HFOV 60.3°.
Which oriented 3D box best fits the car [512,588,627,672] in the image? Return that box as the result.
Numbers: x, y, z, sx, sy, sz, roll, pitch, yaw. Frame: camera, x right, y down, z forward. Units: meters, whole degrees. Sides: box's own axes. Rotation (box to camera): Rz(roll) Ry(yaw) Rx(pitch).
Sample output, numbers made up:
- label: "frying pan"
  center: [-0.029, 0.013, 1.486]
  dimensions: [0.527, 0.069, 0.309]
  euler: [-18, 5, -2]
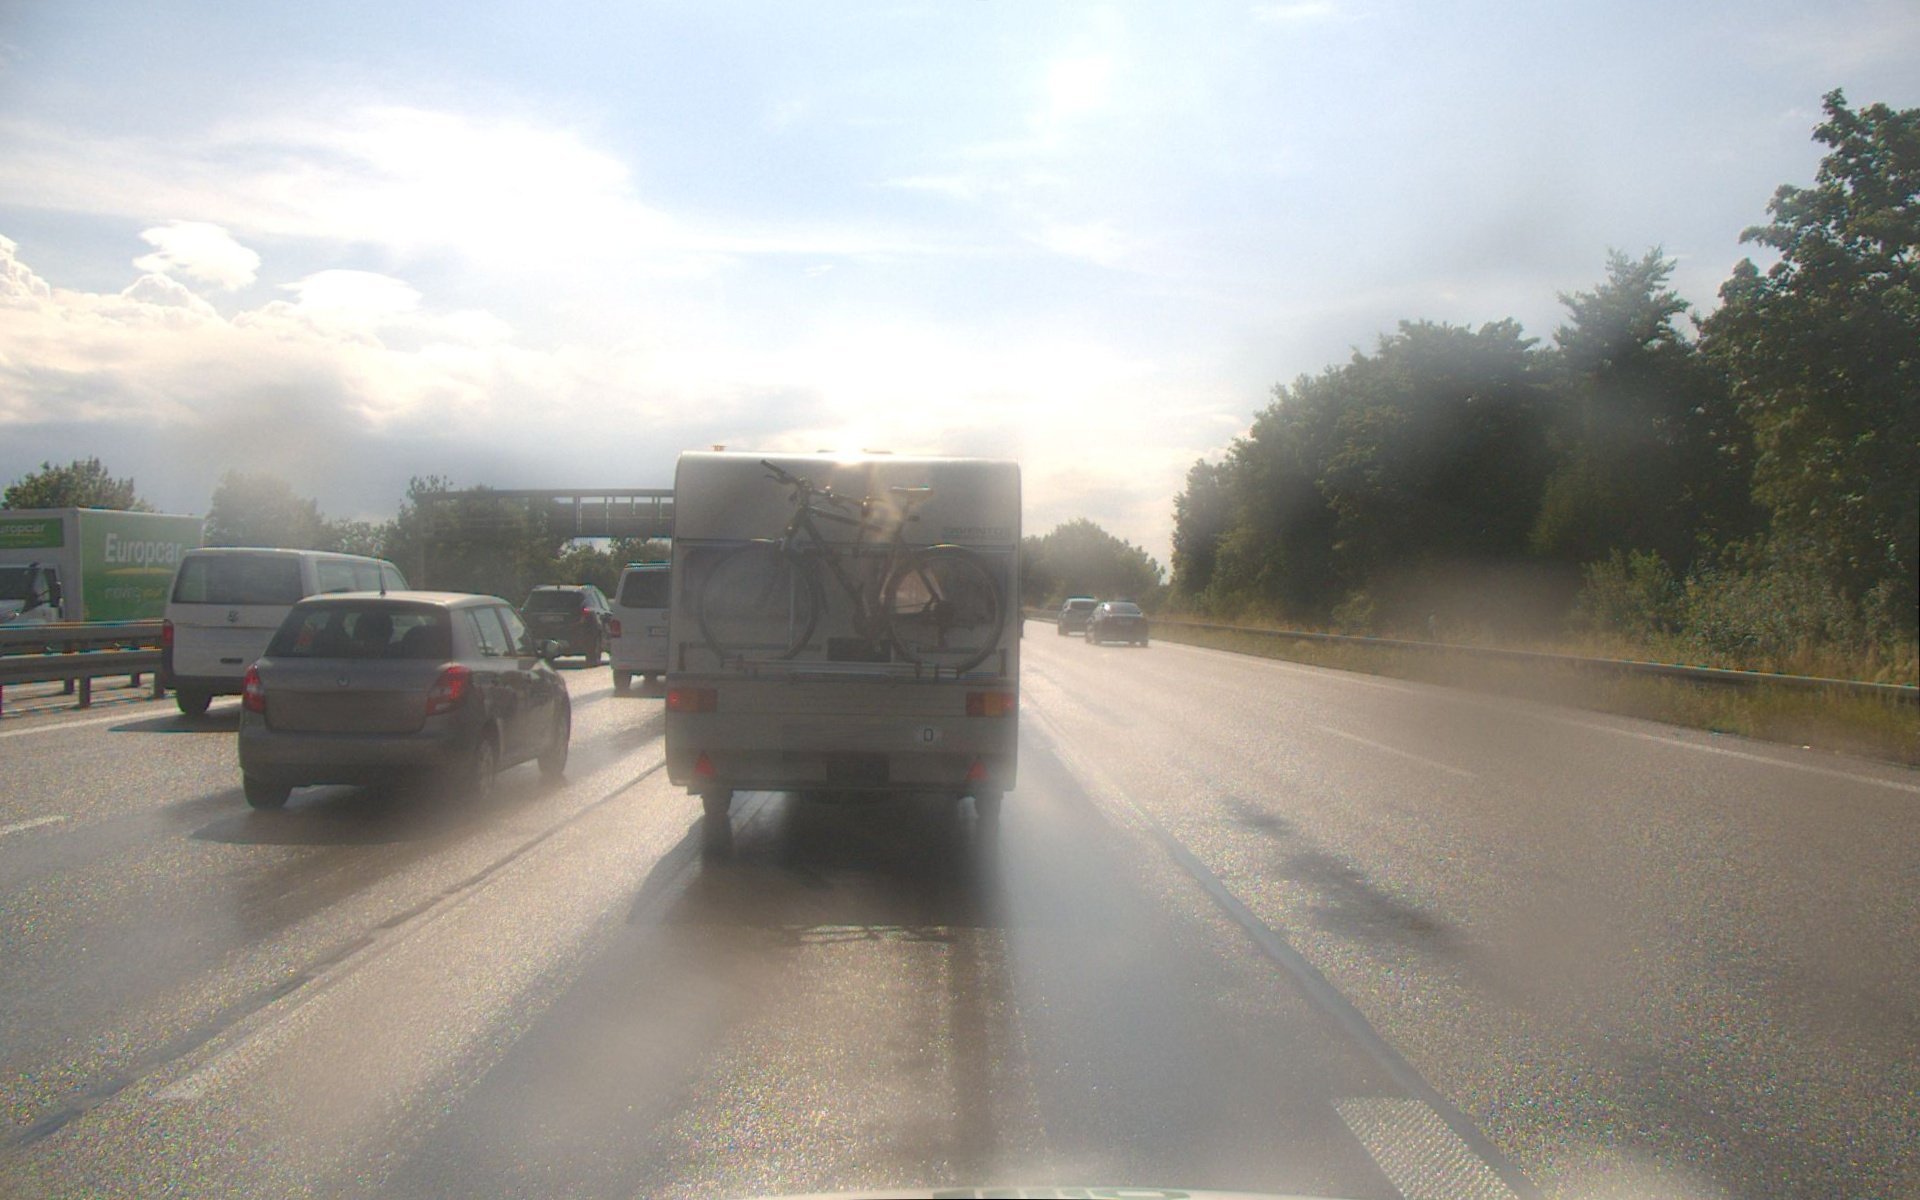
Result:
- label: "car"
  center: [-8.357, 0.616, 35.731]
  dimensions: [1.737, 1.691, 3.997]
  euler: [1, 0, -4]

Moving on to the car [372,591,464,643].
- label: "car"
  center: [-16.505, 0.495, 50.530]
  dimensions: [1.664, 1.512, 3.998]
  euler: [1, 0, -3]

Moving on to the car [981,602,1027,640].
- label: "car"
  center: [1.867, 0.892, 71.342]
  dimensions: [1.798, 1.585, 3.999]
  euler: [1, 0, -1]

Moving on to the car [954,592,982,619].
- label: "car"
  center: [0.501, 0.330, 106.548]
  dimensions: [1.684, 1.713, 4.000]
  euler: [1, 0, -1]

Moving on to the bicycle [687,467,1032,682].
- label: "bicycle"
  center: [-0.558, -0.139, 9.374]
  dimensions: [1.894, 1.161, 0.384]
  euler: [1, -1, -1]

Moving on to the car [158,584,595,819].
- label: "car"
  center: [-4.158, 0.645, 12.508]
  dimensions: [1.947, 1.483, 3.826]
  euler: [1, 0, -1]

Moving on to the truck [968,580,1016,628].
- label: "truck"
  center: [1.674, 0.193, 88.481]
  dimensions: [2.366, 2.486, 6.052]
  euler: [1, 0, 0]

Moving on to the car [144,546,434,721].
- label: "car"
  center: [-8.428, 0.374, 21.329]
  dimensions: [1.810, 1.967, 5.014]
  euler: [1, 0, -2]

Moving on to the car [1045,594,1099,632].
- label: "car"
  center: [5.047, 0.572, 75.065]
  dimensions: [1.840, 1.657, 3.996]
  euler: [1, 0, -5]

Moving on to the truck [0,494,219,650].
- label: "truck"
  center: [-19.755, -0.550, 36.614]
  dimensions: [2.857, 3.039, 8.719]
  euler: [1, 0, -1]

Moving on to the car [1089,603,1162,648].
- label: "car"
  center: [5.825, 0.876, 58.556]
  dimensions: [1.840, 1.521, 3.996]
  euler: [1, 0, -5]

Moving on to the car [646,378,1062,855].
- label: "car"
  center: [-0.624, 0.103, 11.579]
  dimensions: [2.361, 2.721, 3.999]
  euler: [1, 0, -1]

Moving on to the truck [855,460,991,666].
- label: "truck"
  center: [-1.048, -0.843, 43.388]
  dimensions: [3.083, 4.707, 10.731]
  euler: [1, 0, -2]

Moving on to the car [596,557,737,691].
- label: "car"
  center: [-4.811, 0.379, 27.593]
  dimensions: [1.839, 2.049, 3.997]
  euler: [1, 0, -4]
